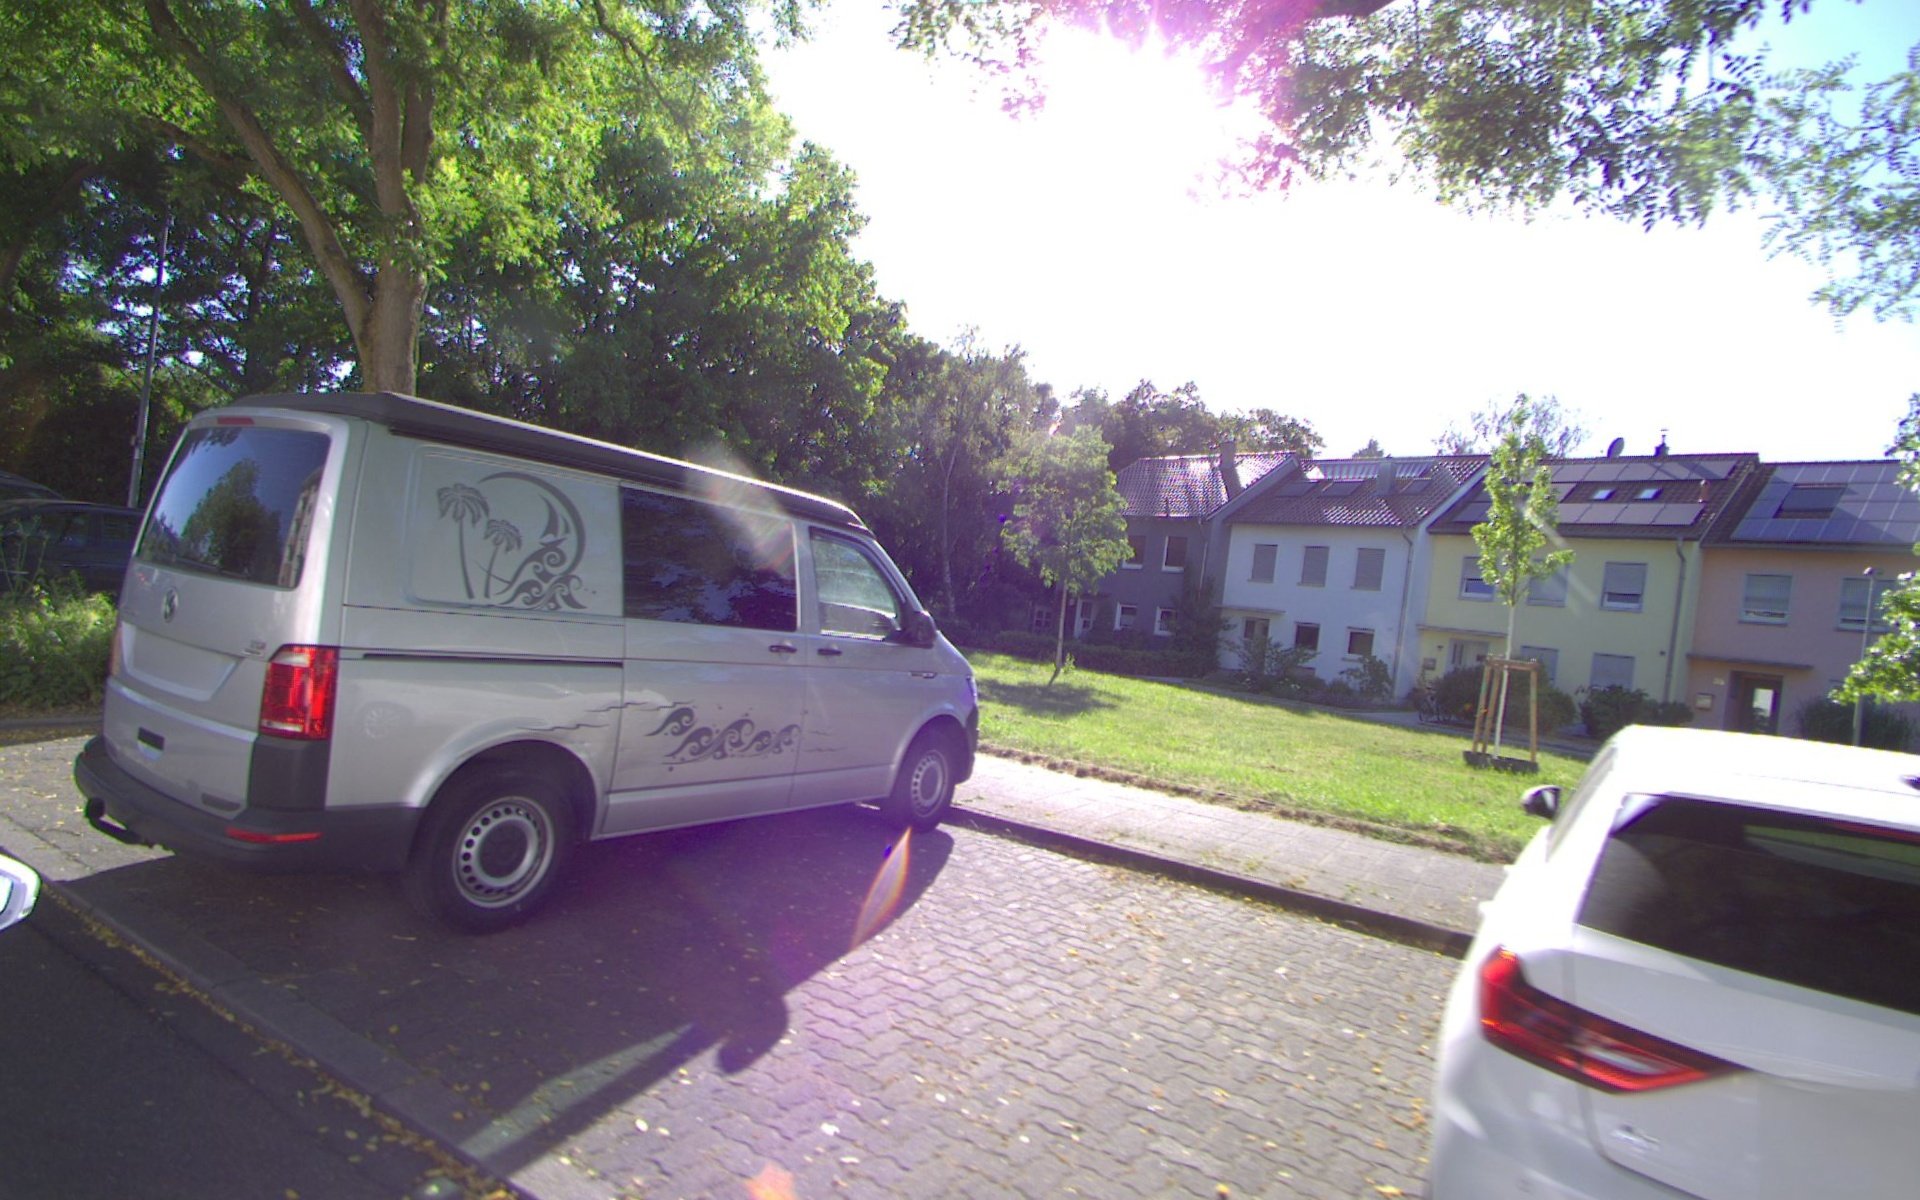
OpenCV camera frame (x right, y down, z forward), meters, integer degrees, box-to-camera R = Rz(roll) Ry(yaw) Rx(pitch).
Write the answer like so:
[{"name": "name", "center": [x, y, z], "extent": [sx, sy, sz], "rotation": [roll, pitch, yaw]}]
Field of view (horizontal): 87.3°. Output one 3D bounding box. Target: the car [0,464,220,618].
[{"name": "car", "center": [-12.055, -0.840, 12.530], "extent": [1.746, 1.716, 4.150], "rotation": [8, 1, 34]}]

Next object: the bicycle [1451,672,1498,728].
[{"name": "bicycle", "center": [14.992, 2.922, 29.271], "extent": [0.811, 1.460, 2.914], "rotation": [7, -2, 33]}]

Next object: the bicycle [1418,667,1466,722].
[{"name": "bicycle", "center": [14.506, 2.865, 30.223], "extent": [0.811, 1.491, 2.914], "rotation": [7, -1, 33]}]

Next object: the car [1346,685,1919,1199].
[{"name": "car", "center": [2.582, 1.115, 3.179], "extent": [1.610, 1.453, 3.908], "rotation": [8, 1, 35]}]

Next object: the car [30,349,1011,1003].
[{"name": "car", "center": [-1.786, 0.269, 5.532], "extent": [1.988, 2.042, 4.453], "rotation": [8, 1, 33]}]

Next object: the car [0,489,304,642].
[{"name": "car", "center": [-10.013, -0.428, 10.918], "extent": [1.745, 1.432, 4.456], "rotation": [8, 1, 31]}]
